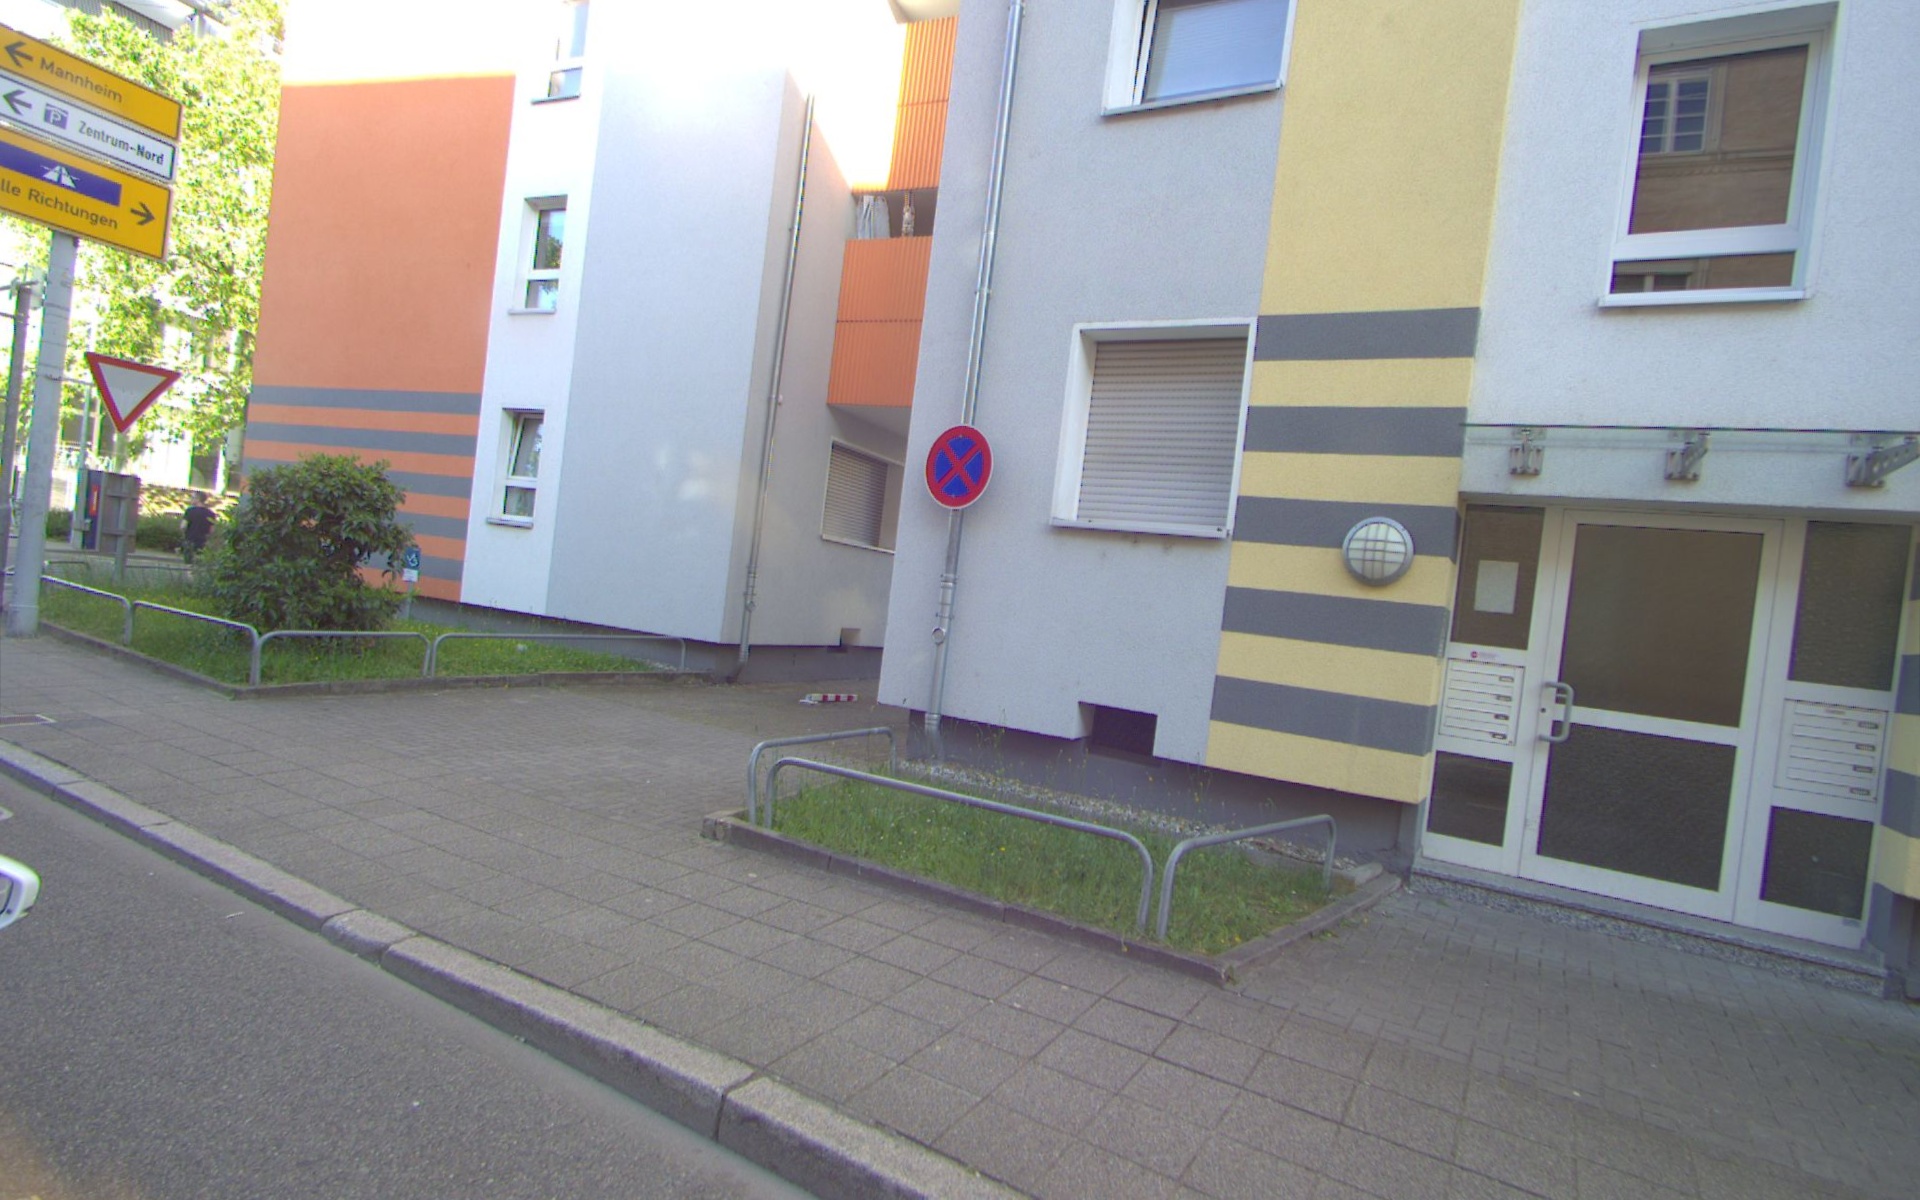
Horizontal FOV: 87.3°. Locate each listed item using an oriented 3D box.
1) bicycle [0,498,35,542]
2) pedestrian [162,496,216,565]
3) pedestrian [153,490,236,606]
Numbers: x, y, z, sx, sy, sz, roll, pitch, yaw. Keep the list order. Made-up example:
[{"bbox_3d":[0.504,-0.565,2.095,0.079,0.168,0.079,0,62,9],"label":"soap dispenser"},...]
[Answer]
[{"bbox_3d":[-26.298,-2.241,27.360,1.658,1.063,0.508,9,2,-3],"label":"bicycle"},{"bbox_3d":[-22.785,-2.057,29.721,0.696,1.861,0.837,8,-1,22],"label":"pedestrian"},{"bbox_3d":[-13.288,-0.903,17.475,0.823,1.861,0.708,8,-1,32],"label":"pedestrian"}]
